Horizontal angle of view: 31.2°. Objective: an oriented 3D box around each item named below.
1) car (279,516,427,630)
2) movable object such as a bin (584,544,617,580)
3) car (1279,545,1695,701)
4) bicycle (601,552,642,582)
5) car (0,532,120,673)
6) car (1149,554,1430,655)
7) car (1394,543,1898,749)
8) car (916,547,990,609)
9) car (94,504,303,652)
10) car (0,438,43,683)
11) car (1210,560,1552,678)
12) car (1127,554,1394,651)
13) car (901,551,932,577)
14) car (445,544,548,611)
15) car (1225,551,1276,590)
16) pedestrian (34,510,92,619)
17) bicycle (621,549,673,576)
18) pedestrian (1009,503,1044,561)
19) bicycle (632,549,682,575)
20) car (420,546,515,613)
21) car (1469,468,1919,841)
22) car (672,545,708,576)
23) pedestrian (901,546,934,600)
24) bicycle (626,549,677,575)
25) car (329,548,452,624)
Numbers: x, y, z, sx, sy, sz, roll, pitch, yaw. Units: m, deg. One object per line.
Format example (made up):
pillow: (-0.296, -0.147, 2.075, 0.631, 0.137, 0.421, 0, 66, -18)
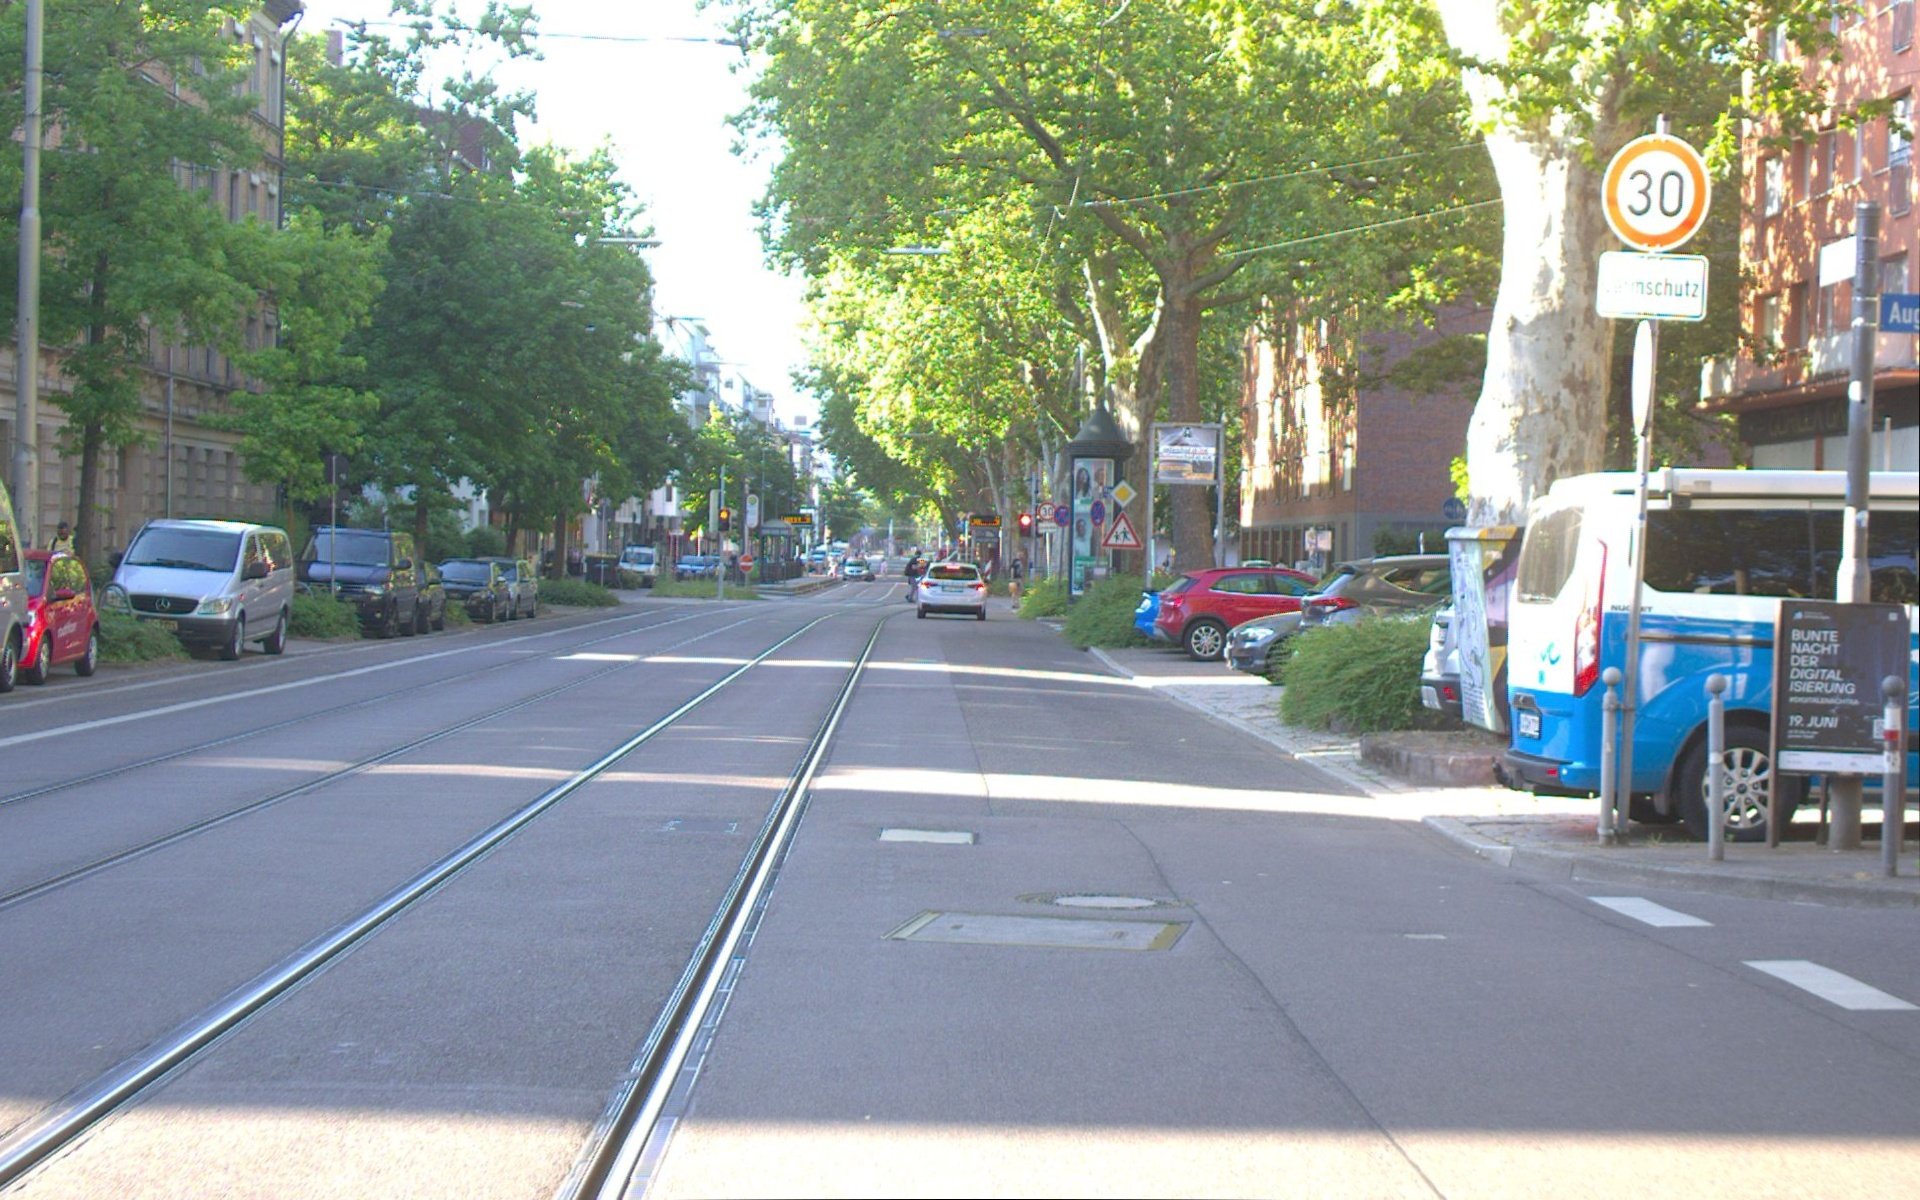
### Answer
car: (-11.144, -0.519, 63.421, 1.993, 2.007, 4.835, 1, 1, -2)
movable object such as a bin: (-14.211, -1.494, 136.014, 1.169, 1.344, 0.783, 5, 0, -5)
car: (5.745, 0.235, 37.824, 4.199, 1.613, 1.879, 1, 1, -3)
bicycle: (-13.597, -1.335, 138.092, 1.533, 1.071, 0.885, 4, 1, -1)
car: (-10.936, -0.011, 39.584, 1.685, 1.534, 3.708, 1, 1, -1)
car: (5.311, 0.058, 55.818, 4.403, 1.537, 1.952, 1, 1, 2)
car: (5.644, 0.353, 28.576, 3.781, 1.613, 1.791, -1, 1, -3)
car: (-0.190, -0.575, 86.843, 1.788, 1.508, 4.000, 1, 1, -1)
car: (-10.799, -0.339, 49.082, 1.843, 1.982, 4.988, 1, 1, 0)
car: (-10.878, -0.402, 34.109, 2.303, 2.499, 5.344, 1, 1, -2)
car: (5.458, 0.233, 44.938, 4.199, 1.443, 1.818, 1, 1, -1)
car: (5.094, 0.027, 58.100, 4.404, 1.537, 1.817, 1, 1, 6)
car: (-2.646, -2.207, 208.139, 1.788, 1.508, 4.000, 1, 1, -1)
car: (-11.338, -0.570, 84.368, 1.700, 1.545, 4.536, 2, 1, 2)
car: (11.621, -1.188, 137.615, 1.600, 1.490, 3.417, 1, 1, -2)
pedestrian: (-13.970, -0.555, 53.565, 0.605, 1.656, 0.947, 2, 1, 0)
bicycle: (-14.269, -1.704, 156.881, 2.253, 1.070, 0.636, 4, 1, 1)
pedestrian: (2.214, -2.267, 114.414, 0.982, 1.857, 1.016, -3, 1, -6)
bicycle: (-14.455, -1.798, 164.154, 2.253, 1.070, 0.636, 4, 1, 1)
car: (-11.259, -0.482, 78.803, 1.658, 1.440, 3.950, 2, 1, -1)
car: (5.584, 0.258, 19.899, 4.845, 2.007, 2.195, -1, 1, -4)
car: (-14.266, -2.089, 181.656, 1.593, 1.543, 4.000, 3, 1, -1)
pedestrian: (-1.438, -0.919, 115.947, 0.994, 1.805, 0.864, 0, 1, -6)
bicycle: (-14.392, -1.769, 160.577, 2.253, 1.070, 0.636, 4, 1, 1)
car: (-11.327, -0.306, 68.593, 1.853, 1.453, 4.270, 1, 1, -2)
